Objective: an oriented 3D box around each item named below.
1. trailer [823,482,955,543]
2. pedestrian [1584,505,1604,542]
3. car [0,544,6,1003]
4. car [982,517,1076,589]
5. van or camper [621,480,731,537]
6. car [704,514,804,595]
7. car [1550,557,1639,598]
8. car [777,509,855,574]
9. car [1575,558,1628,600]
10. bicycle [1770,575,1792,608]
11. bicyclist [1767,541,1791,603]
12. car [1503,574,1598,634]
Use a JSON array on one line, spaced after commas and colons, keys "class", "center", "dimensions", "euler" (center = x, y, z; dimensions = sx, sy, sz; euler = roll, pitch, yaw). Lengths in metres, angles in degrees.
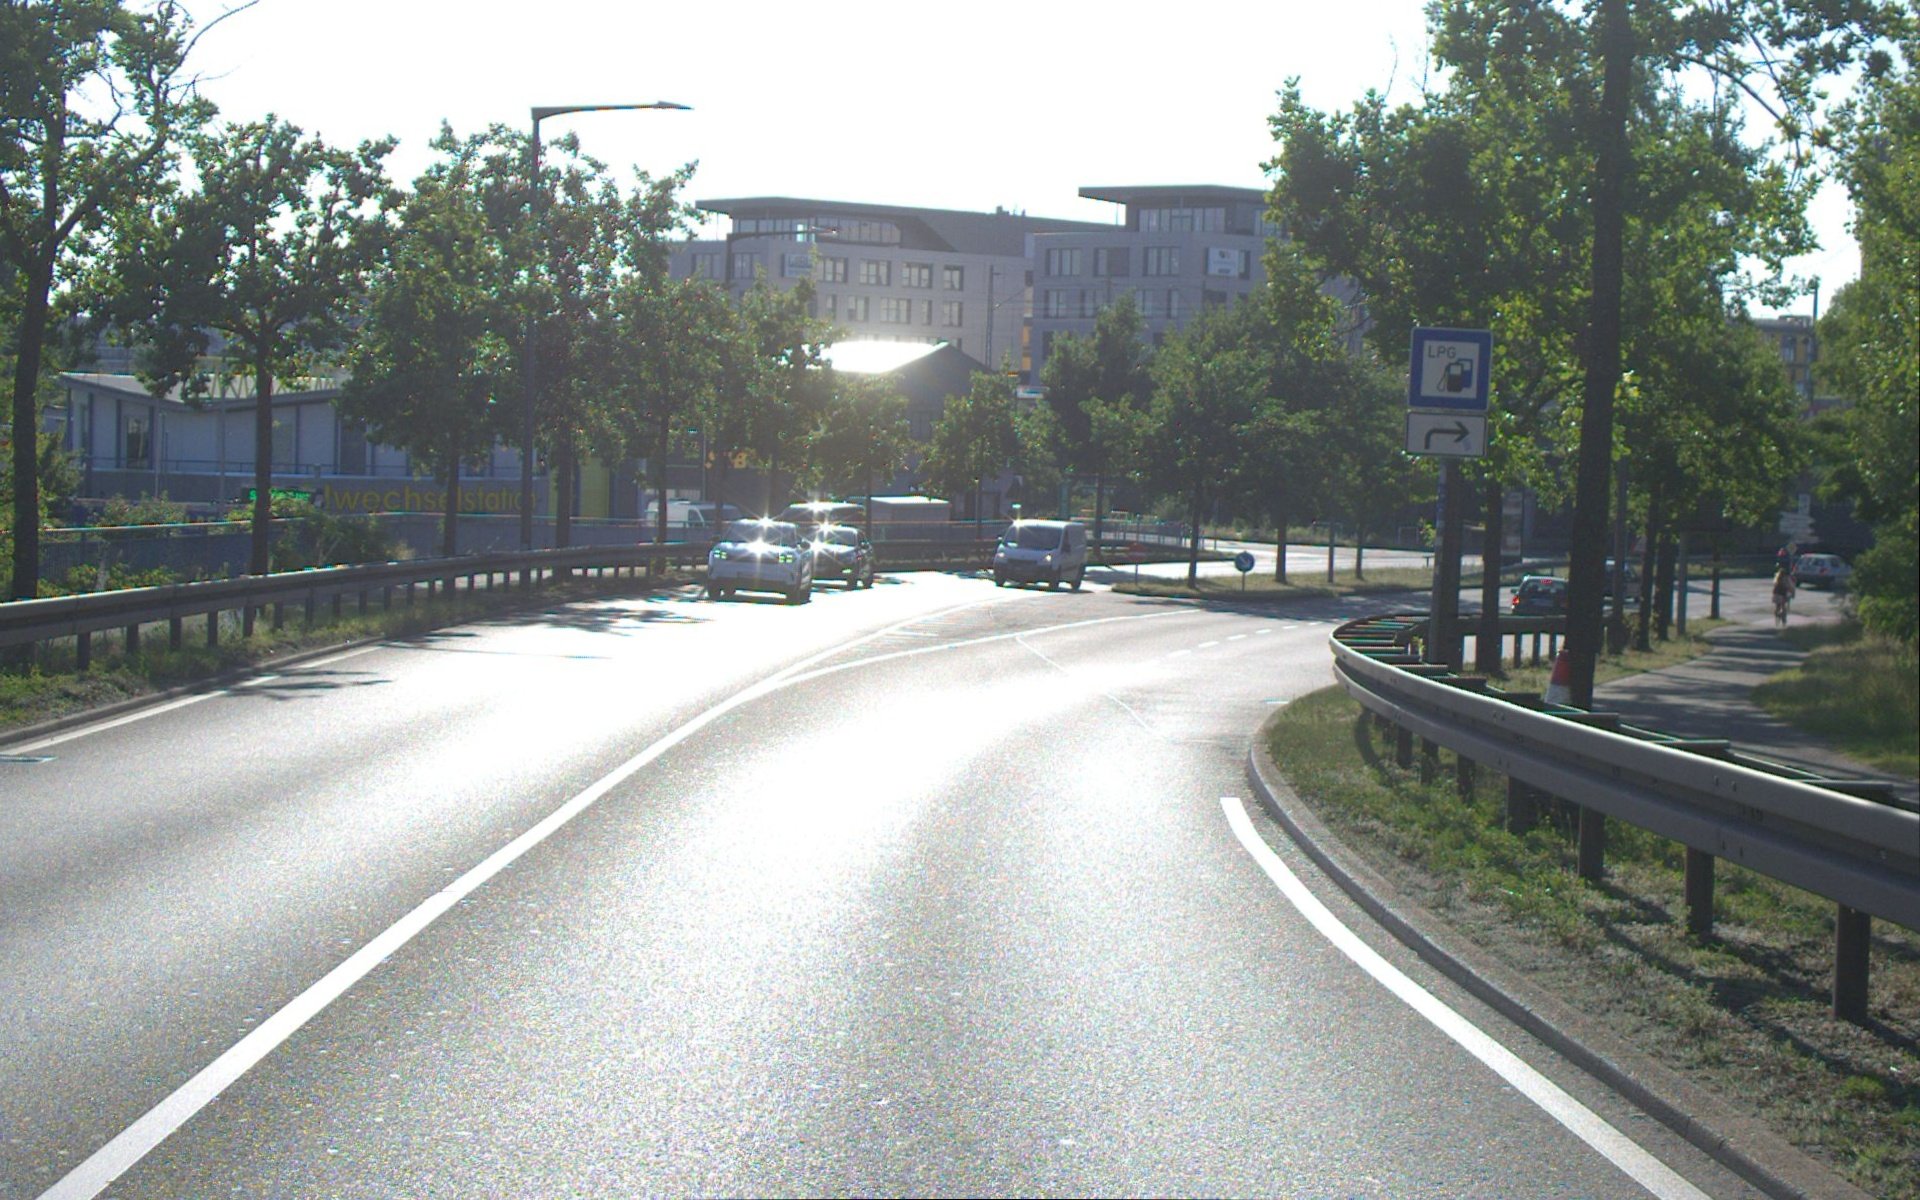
[{"class": "trailer", "center": [-2.455, -3.081, 121.292], "dimensions": [2.422, 1.963, 6.600], "euler": [4, 2, 19]}, {"class": "pedestrian", "center": [33.403, -4.045, 181.187], "dimensions": [0.696, 1.897, 0.663], "euler": [6, 4, 43]}, {"class": "car", "center": [-3.778, 0.579, 8.757], "dimensions": [1.683, 1.419, 3.859], "euler": [0, 1, -1]}, {"class": "car", "center": [2.026, -1.369, 99.410], "dimensions": [1.879, 2.007, 5.258], "euler": [1, 1, 11]}, {"class": "van or camper", "center": [-10.802, -3.488, 130.561], "dimensions": [1.994, 1.919, 4.228], "euler": [2, 1, -40]}, {"class": "car", "center": [-4.194, -0.953, 70.469], "dimensions": [1.828, 1.584, 4.649], "euler": [1, 1, -1]}, {"class": "car", "center": [23.417, -0.828, 126.835], "dimensions": [1.585, 1.403, 3.823], "euler": [6, 4, 37]}, {"class": "car", "center": [-3.529, -1.453, 84.770], "dimensions": [1.772, 1.460, 4.384], "euler": [3, 1, -1]}, {"class": "car", "center": [22.892, -0.762, 122.611], "dimensions": [1.548, 1.418, 3.415], "euler": [1, 1, 15]}, {"class": "bicycle", "center": [25.431, -0.272, 106.509], "dimensions": [0.579, 0.960, 2.884], "euler": [1, 1, 15]}, {"class": "bicyclist", "center": [25.377, -0.884, 106.465], "dimensions": [0.682, 1.900, 0.833], "euler": [1, 1, 14]}, {"class": "car", "center": [15.789, 0.088, 91.815], "dimensions": [1.995, 1.503, 3.997], "euler": [1, 1, 17]}]
